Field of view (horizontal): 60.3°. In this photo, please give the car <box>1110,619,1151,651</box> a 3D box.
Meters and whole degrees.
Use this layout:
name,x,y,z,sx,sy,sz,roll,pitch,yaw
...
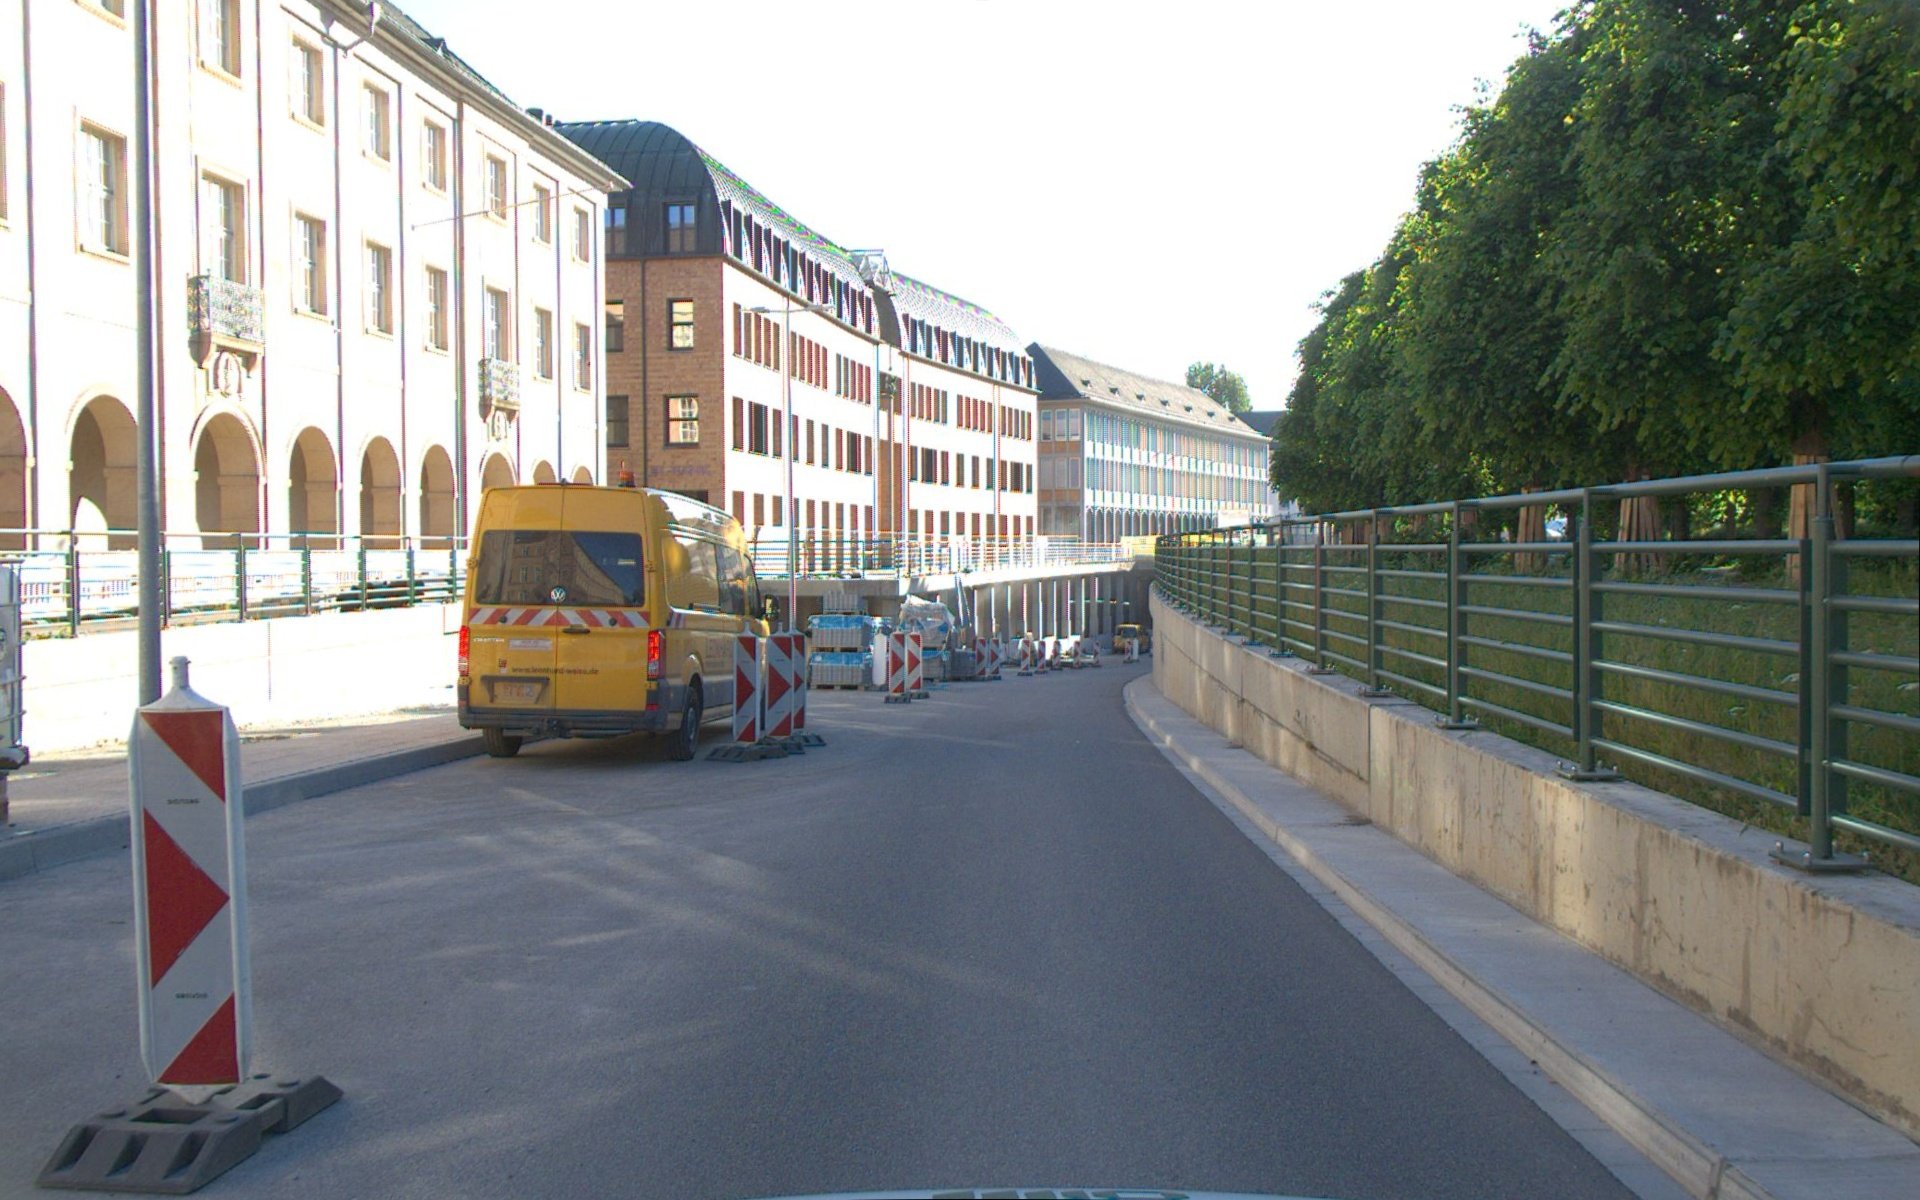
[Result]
name,x,y,z,sx,sy,sz,roll,pitch,yaw
car,10.688,2.153,103.344,1.809,1.806,4.437,1,1,16

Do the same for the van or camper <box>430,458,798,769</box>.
name,x,y,z,sx,sy,sz,roll,pitch,yaw
van or camper,-3.381,0.161,17.945,2.148,2.658,6.826,2,-1,3
